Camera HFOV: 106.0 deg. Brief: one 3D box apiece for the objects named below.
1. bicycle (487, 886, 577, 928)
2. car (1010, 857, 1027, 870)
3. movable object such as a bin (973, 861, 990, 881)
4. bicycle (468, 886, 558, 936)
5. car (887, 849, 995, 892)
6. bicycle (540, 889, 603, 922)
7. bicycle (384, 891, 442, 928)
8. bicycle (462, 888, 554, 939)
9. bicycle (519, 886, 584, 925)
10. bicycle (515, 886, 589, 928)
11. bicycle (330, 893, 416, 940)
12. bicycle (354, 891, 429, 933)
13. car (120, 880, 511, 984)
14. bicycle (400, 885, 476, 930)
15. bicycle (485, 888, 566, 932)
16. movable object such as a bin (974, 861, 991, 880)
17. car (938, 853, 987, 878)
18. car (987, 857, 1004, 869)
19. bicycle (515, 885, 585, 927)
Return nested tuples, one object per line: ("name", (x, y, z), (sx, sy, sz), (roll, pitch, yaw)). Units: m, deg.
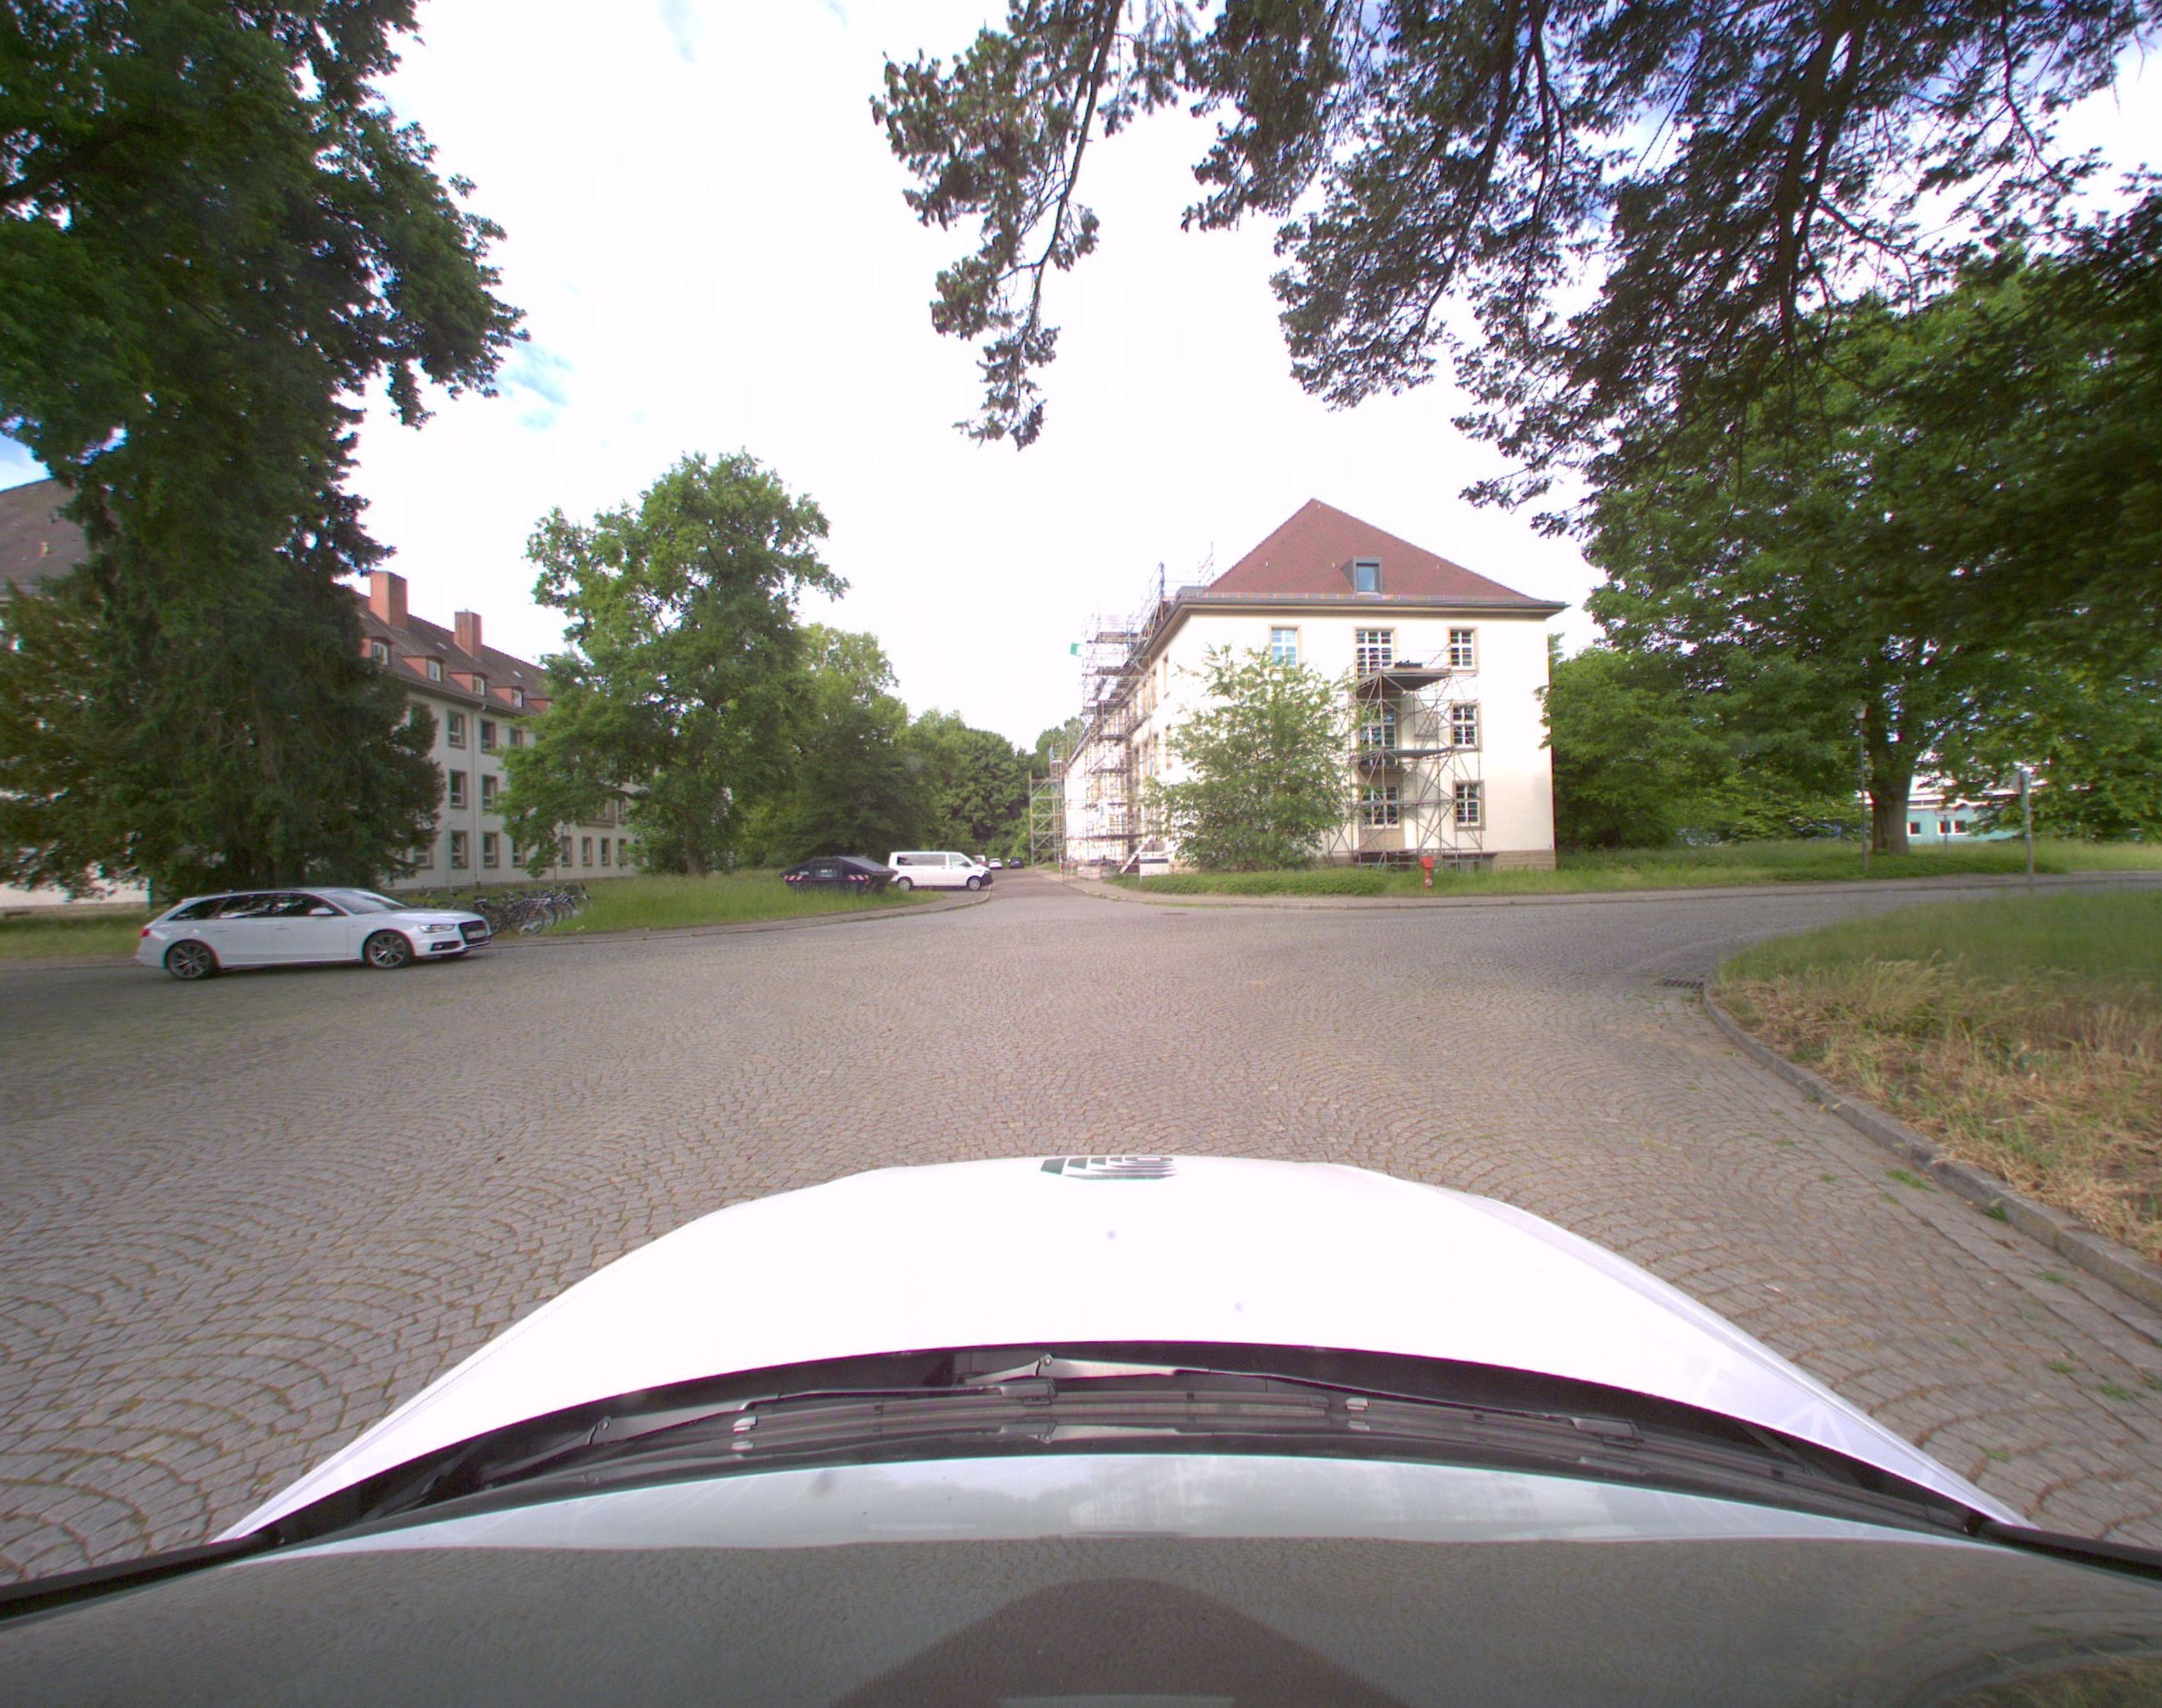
("bicycle", (-15.494, 1.481, 23.046), (1.963, 1.004, 0.681), (-3, 2, -25))
("car", (-8.231, 1.269, 107.171), (2.059, 1.593, 3.995), (1, -1, -3))
("movable object such as a bin", (-7.216, 1.237, 59.303), (1.182, 1.407, 0.973), (1, -1, -5))
("bicycle", (-14.991, 1.486, 21.568), (1.802, 1.103, 0.697), (-3, 2, -25))
("car", (-6.921, 0.826, 40.848), (5.196, 2.060, 2.183), (-1, -1, -7))
("bicycle", (-16.571, 1.654, 26.516), (1.624, 0.910, 0.522), (-3, 2, -25))
("bicycle", (-20.419, 1.696, 24.900), (1.265, 1.029, 0.430), (-3, -2, -25))
("bicycle", (-14.667, 1.498, 20.914), (1.776, 1.103, 0.697), (-3, 2, -25))
("bicycle", (-16.767, 1.621, 25.834), (1.624, 1.058, 0.522), (-3, 2, -25))
("bicycle", (-16.146, 1.607, 24.901), (1.780, 1.105, 0.537), (-3, 2, -25))
("bicycle", (-18.615, 1.617, 21.458), (1.637, 1.073, 0.534), (-2, 2, -36))
("bicycle", (-19.246, 1.598, 22.771), (1.523, 1.035, 0.539), (-2, 2, -36))
("car", (-12.945, 1.271, 14.086), (4.686, 1.437, 1.850), (-2, 0, -7))
("bicycle", (-18.794, 1.554, 23.841), (1.650, 1.185, 0.568), (-2, 2, -32))
("bicycle", (-15.143, 1.510, 22.263), (1.699, 1.001, 0.627), (-3, 2, -25))
("movable object such as a bin", (-7.308, 1.249, 60.425), (1.182, 1.407, 0.973), (1, -1, -5))
("car", (-9.909, 0.995, 68.068), (3.987, 2.014, 1.915), (1, -1, -10))
("car", (-11.236, 1.188, 106.602), (2.000, 1.548, 3.946), (1, -1, -9))
("bicycle", (-16.498, 1.599, 25.352), (1.705, 1.116, 0.537), (-3, 2, -25))
